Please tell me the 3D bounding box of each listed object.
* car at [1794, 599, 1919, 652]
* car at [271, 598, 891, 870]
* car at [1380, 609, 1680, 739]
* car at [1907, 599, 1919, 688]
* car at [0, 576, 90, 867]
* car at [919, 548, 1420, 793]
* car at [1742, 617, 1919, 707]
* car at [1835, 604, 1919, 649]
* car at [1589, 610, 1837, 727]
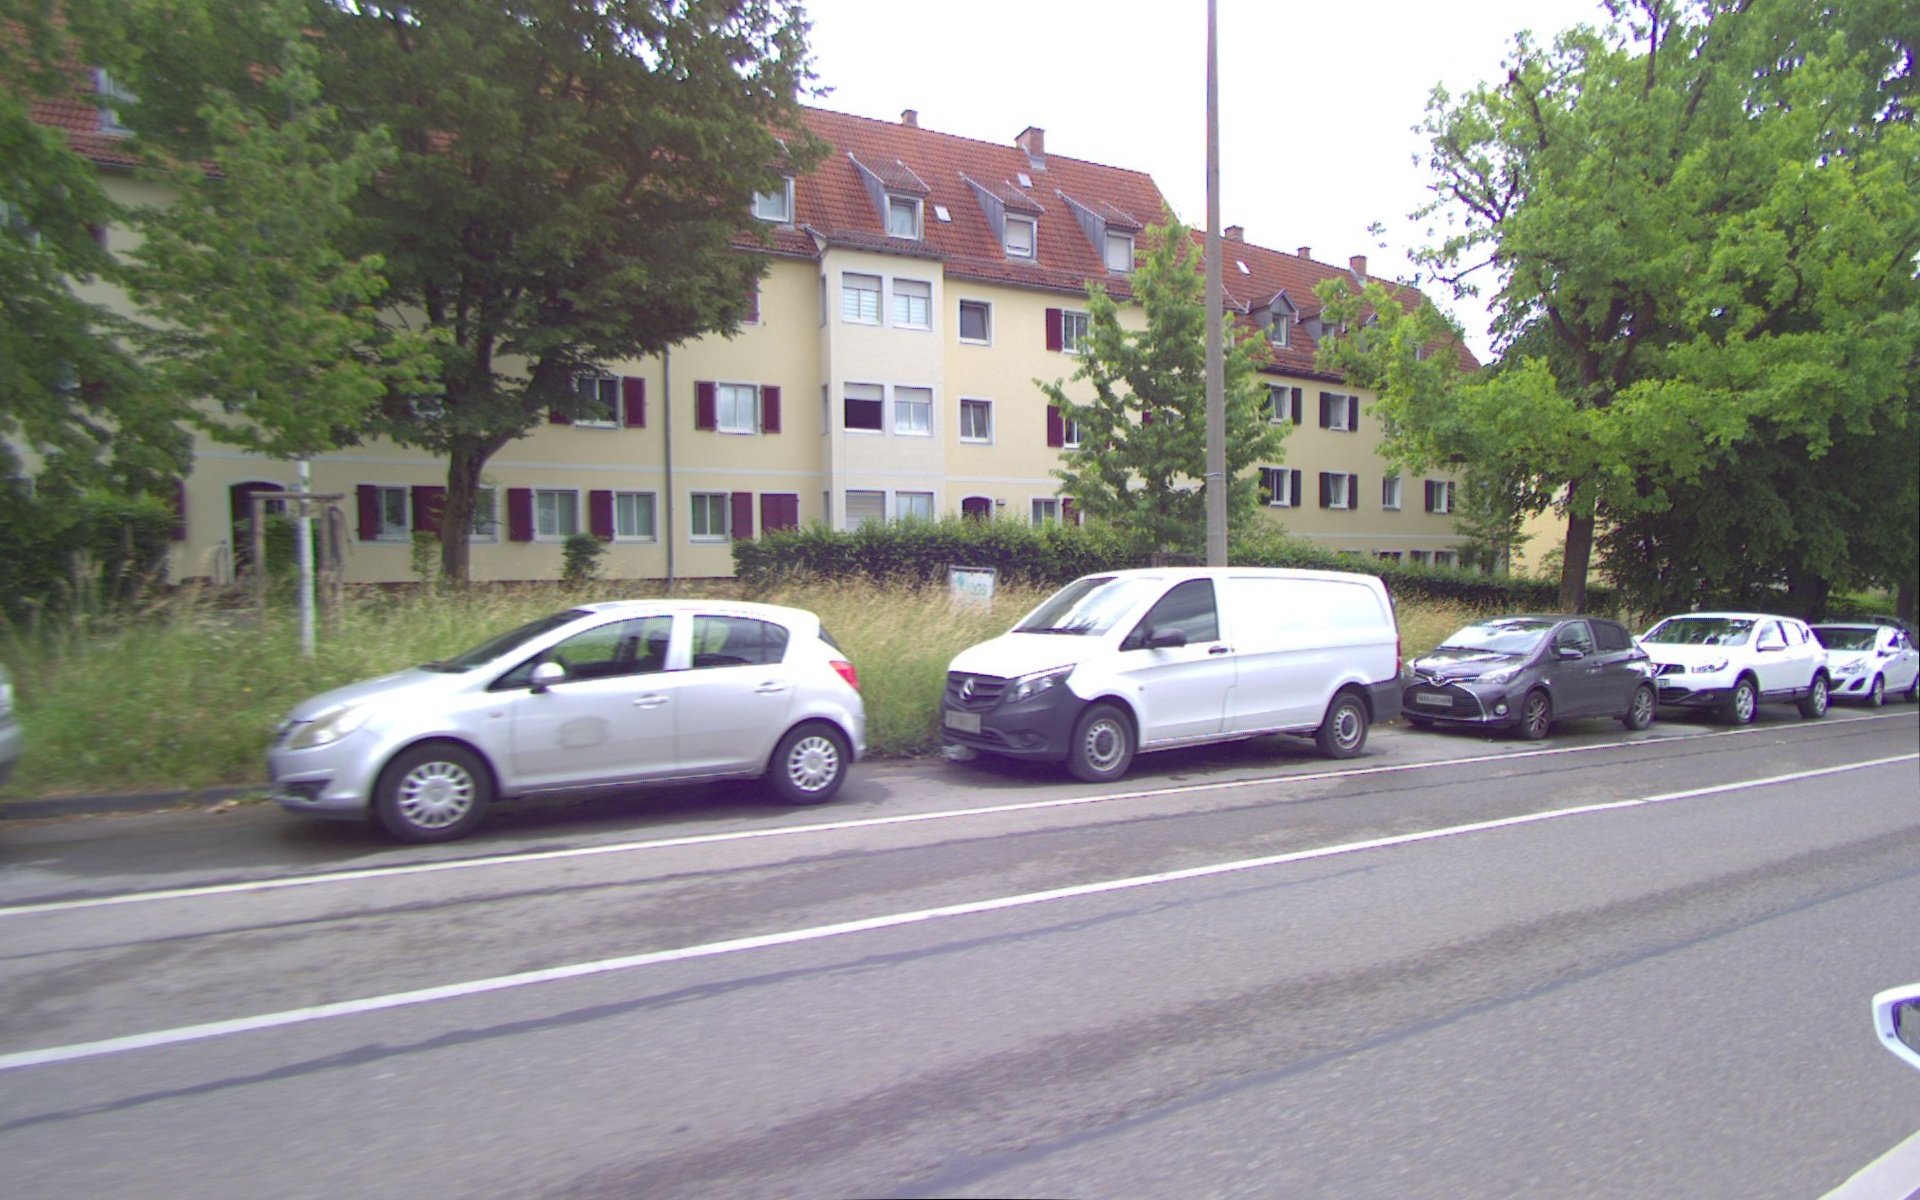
[{"bbox_3d":[32.547,0.932,35.415,1.850,1.470,4.401,1,5,-35],"label":"car"},{"bbox_3d":[-2.599,0.746,7.276,3.909,1.452,1.624,0,1,-34],"label":"car"},{"bbox_3d":[7.622,0.912,13.357,3.996,1.507,1.666,1,-1,-29],"label":"car"},{"bbox_3d":[24.002,1.019,23.212,5.069,1.990,1.856,1,0,-32],"label":"car"},{"bbox_3d":[-7.151,0.607,4.722,4.303,1.515,1.761,1,-1,-29],"label":"car"},{"bbox_3d":[2.246,0.559,10.101,5.096,1.957,1.758,1,1,-32],"label":"car"},{"bbox_3d":[16.677,1.119,19.065,4.046,1.498,1.652,1,0,-33],"label":"car"},{"bbox_3d":[36.833,1.109,38.576,1.864,1.474,4.411,1,4,-29],"label":"car"},{"bbox_3d":[11.772,0.986,15.628,4.233,1.585,1.664,1,0,-32],"label":"car"}]
